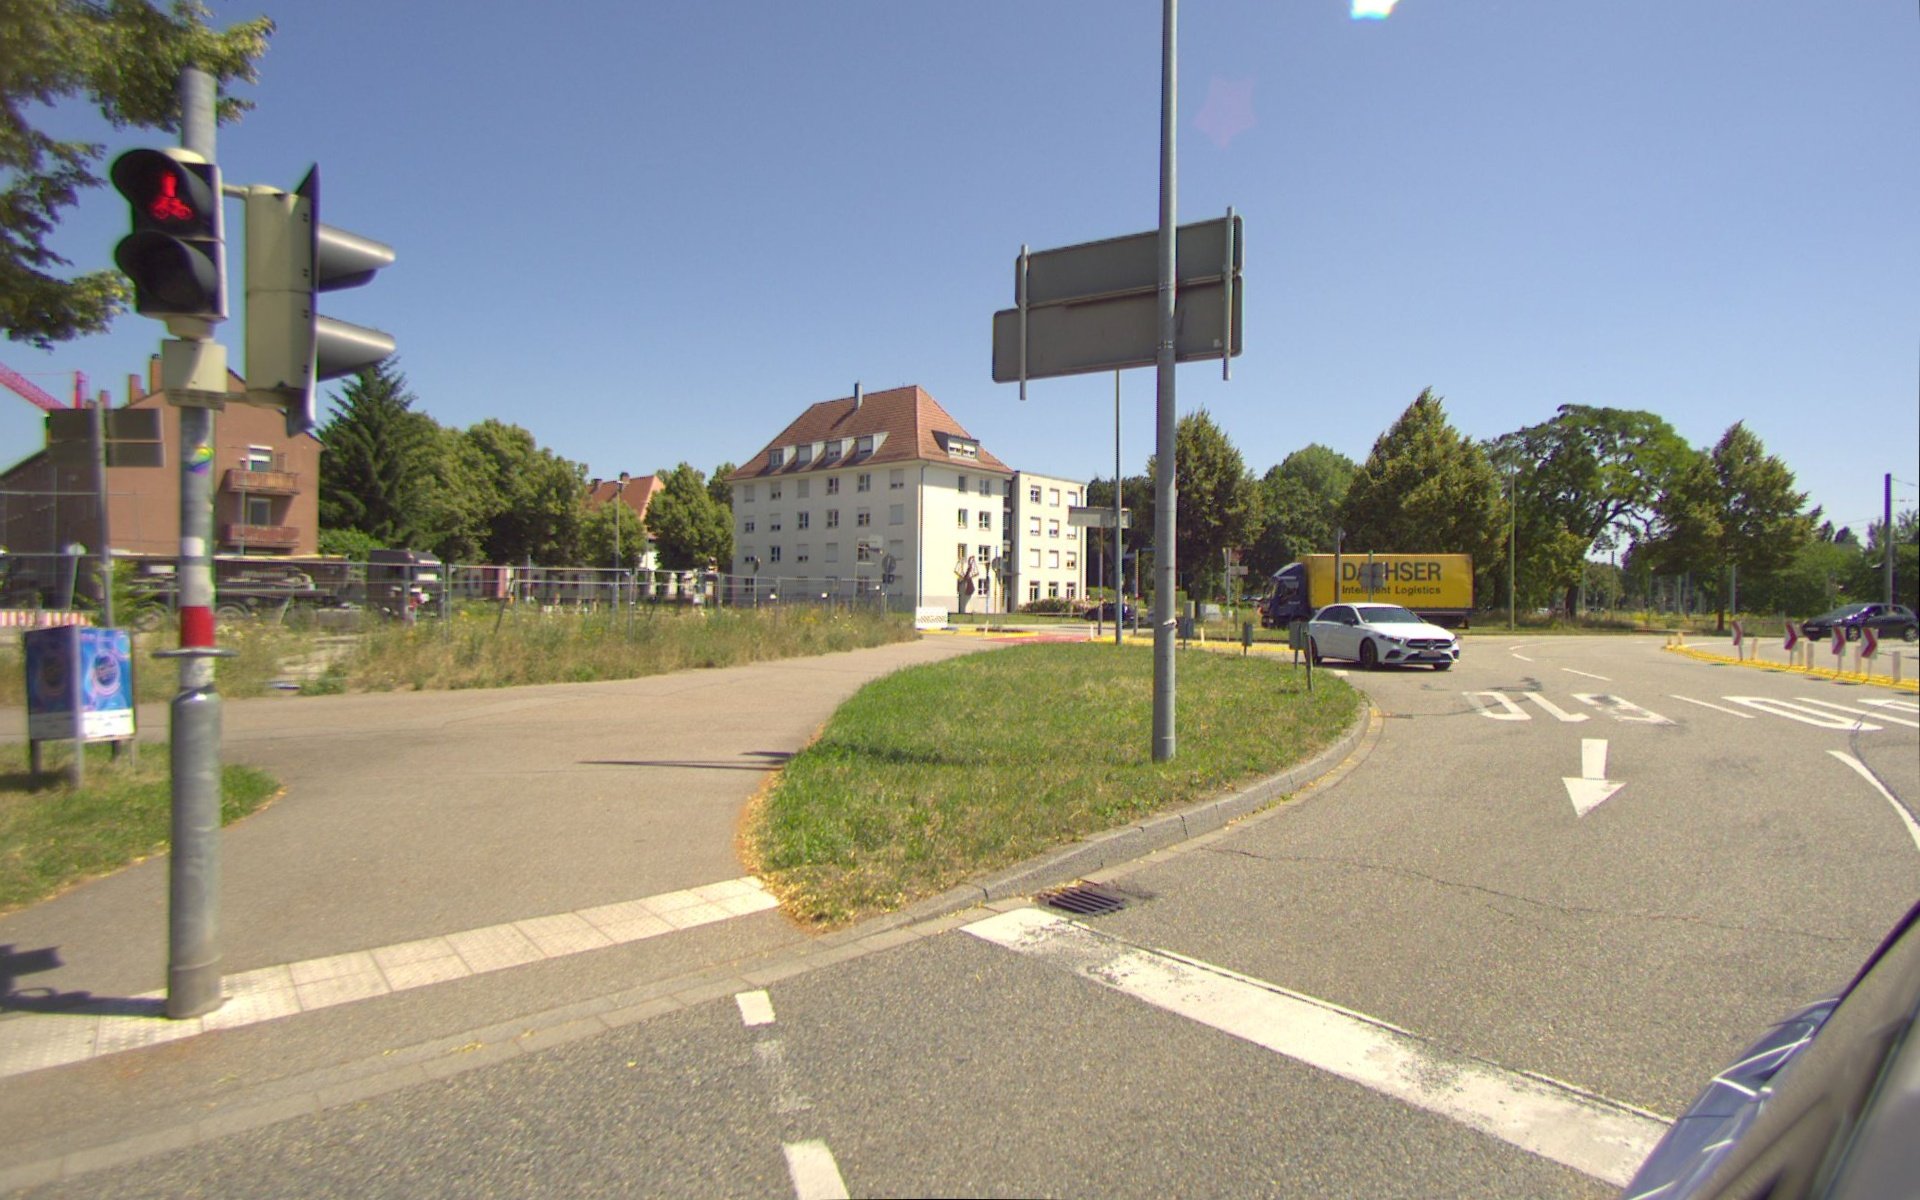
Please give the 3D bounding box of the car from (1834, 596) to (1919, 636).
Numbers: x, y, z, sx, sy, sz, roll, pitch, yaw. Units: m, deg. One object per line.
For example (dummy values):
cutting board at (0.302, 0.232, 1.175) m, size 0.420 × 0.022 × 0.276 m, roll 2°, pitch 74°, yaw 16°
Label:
car at (35.164, 0.562, 37.584) m, size 3.919 × 1.436 × 1.982 m, roll 0°, pitch 0°, yaw -7°

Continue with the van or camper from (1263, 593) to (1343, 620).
van or camper at (25.037, 0.425, 73.994) m, size 5.251 × 1.881 × 1.970 m, roll 1°, pitch 0°, yaw 42°

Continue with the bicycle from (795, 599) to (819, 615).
bicycle at (-10.739, 0.490, 71.131) m, size 0.698 × 1.036 × 1.982 m, roll -3°, pitch 3°, yaw -42°

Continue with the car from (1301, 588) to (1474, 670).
car at (9.194, 0.547, 22.133) m, size 1.745 × 1.564 × 3.969 m, roll 0°, pitch 1°, yaw -6°

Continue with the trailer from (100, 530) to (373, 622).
trailer at (-29.874, -0.910, 42.398) m, size 8.805 × 3.577 × 3.170 m, roll 0°, pitch 0°, yaw -24°

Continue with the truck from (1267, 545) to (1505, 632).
truck at (18.890, -0.516, 45.307) m, size 9.437 × 3.705 × 2.706 m, roll 0°, pitch 0°, yaw 2°

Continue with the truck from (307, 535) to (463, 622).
truck at (-24.594, -0.903, 43.501) m, size 4.870 × 3.577 × 3.164 m, roll 0°, pitch 0°, yaw 0°

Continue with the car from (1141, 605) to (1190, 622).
car at (15.672, 1.046, 77.235) m, size 3.501 × 1.233 × 1.336 m, roll 1°, pitch 0°, yaw 43°

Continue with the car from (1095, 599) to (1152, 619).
car at (11.709, 0.624, 72.689) m, size 3.793 × 1.343 × 1.634 m, roll 1°, pitch 0°, yaw 43°
